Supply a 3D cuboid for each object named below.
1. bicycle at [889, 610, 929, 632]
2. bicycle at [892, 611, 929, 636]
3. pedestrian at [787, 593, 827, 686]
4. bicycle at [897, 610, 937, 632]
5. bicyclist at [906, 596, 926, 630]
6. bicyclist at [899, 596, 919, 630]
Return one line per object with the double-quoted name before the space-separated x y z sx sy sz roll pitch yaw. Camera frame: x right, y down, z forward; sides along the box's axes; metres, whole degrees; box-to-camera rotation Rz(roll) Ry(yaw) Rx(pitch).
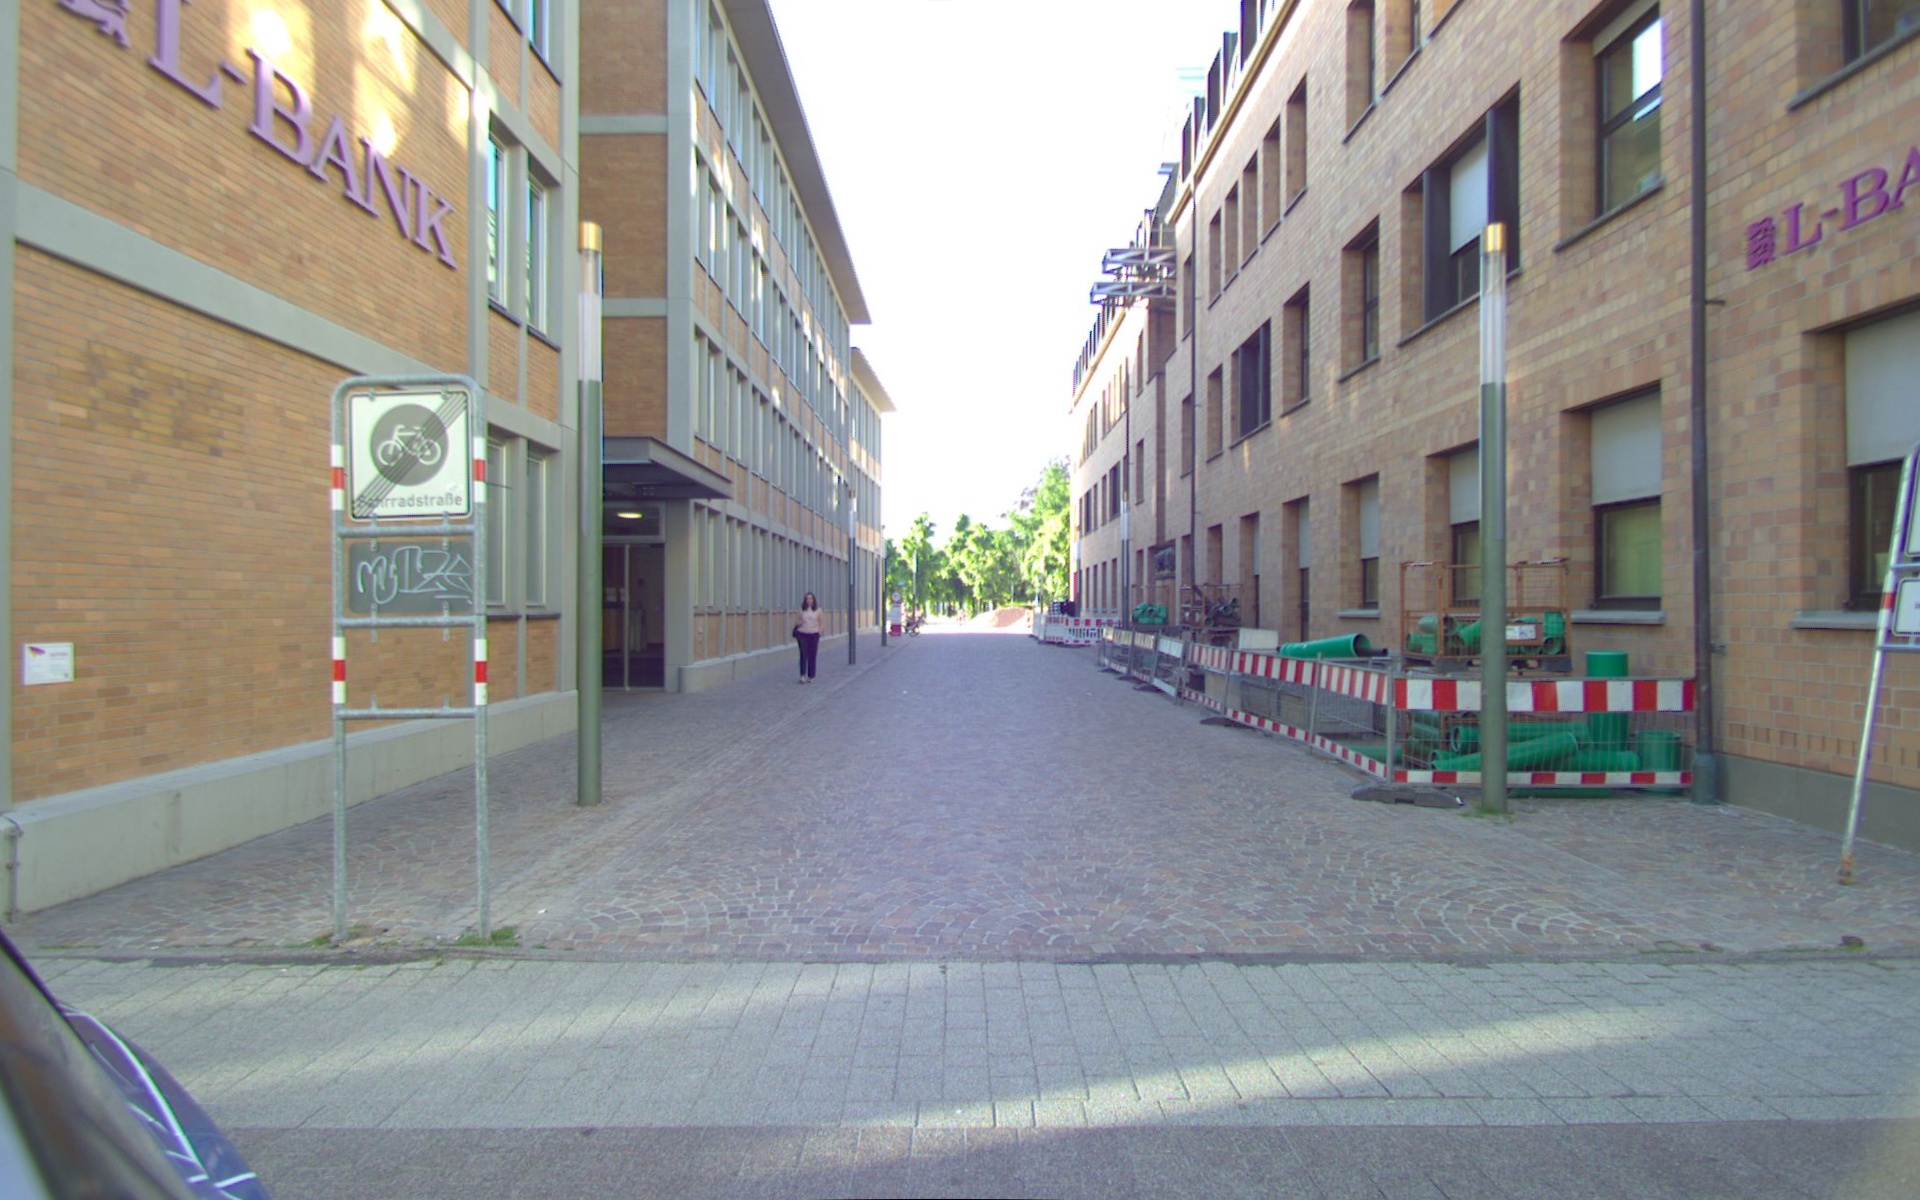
"bicycle" -3.048 1.256 60.701 2.302 1.282 0.779 0 0 3
"bicycle" -2.655 1.256 54.459 2.042 1.270 0.725 0 -1 -42
"pedestrian" -2.996 0.769 19.884 0.683 1.793 0.697 0 0 -1
"bicycle" -2.541 1.248 59.718 2.302 1.282 0.779 0 0 3
"bicyclist" -2.605 0.759 59.694 1.082 2.029 1.002 0 0 5
"bicyclist" -3.055 0.766 60.764 1.082 2.029 1.002 0 0 5
